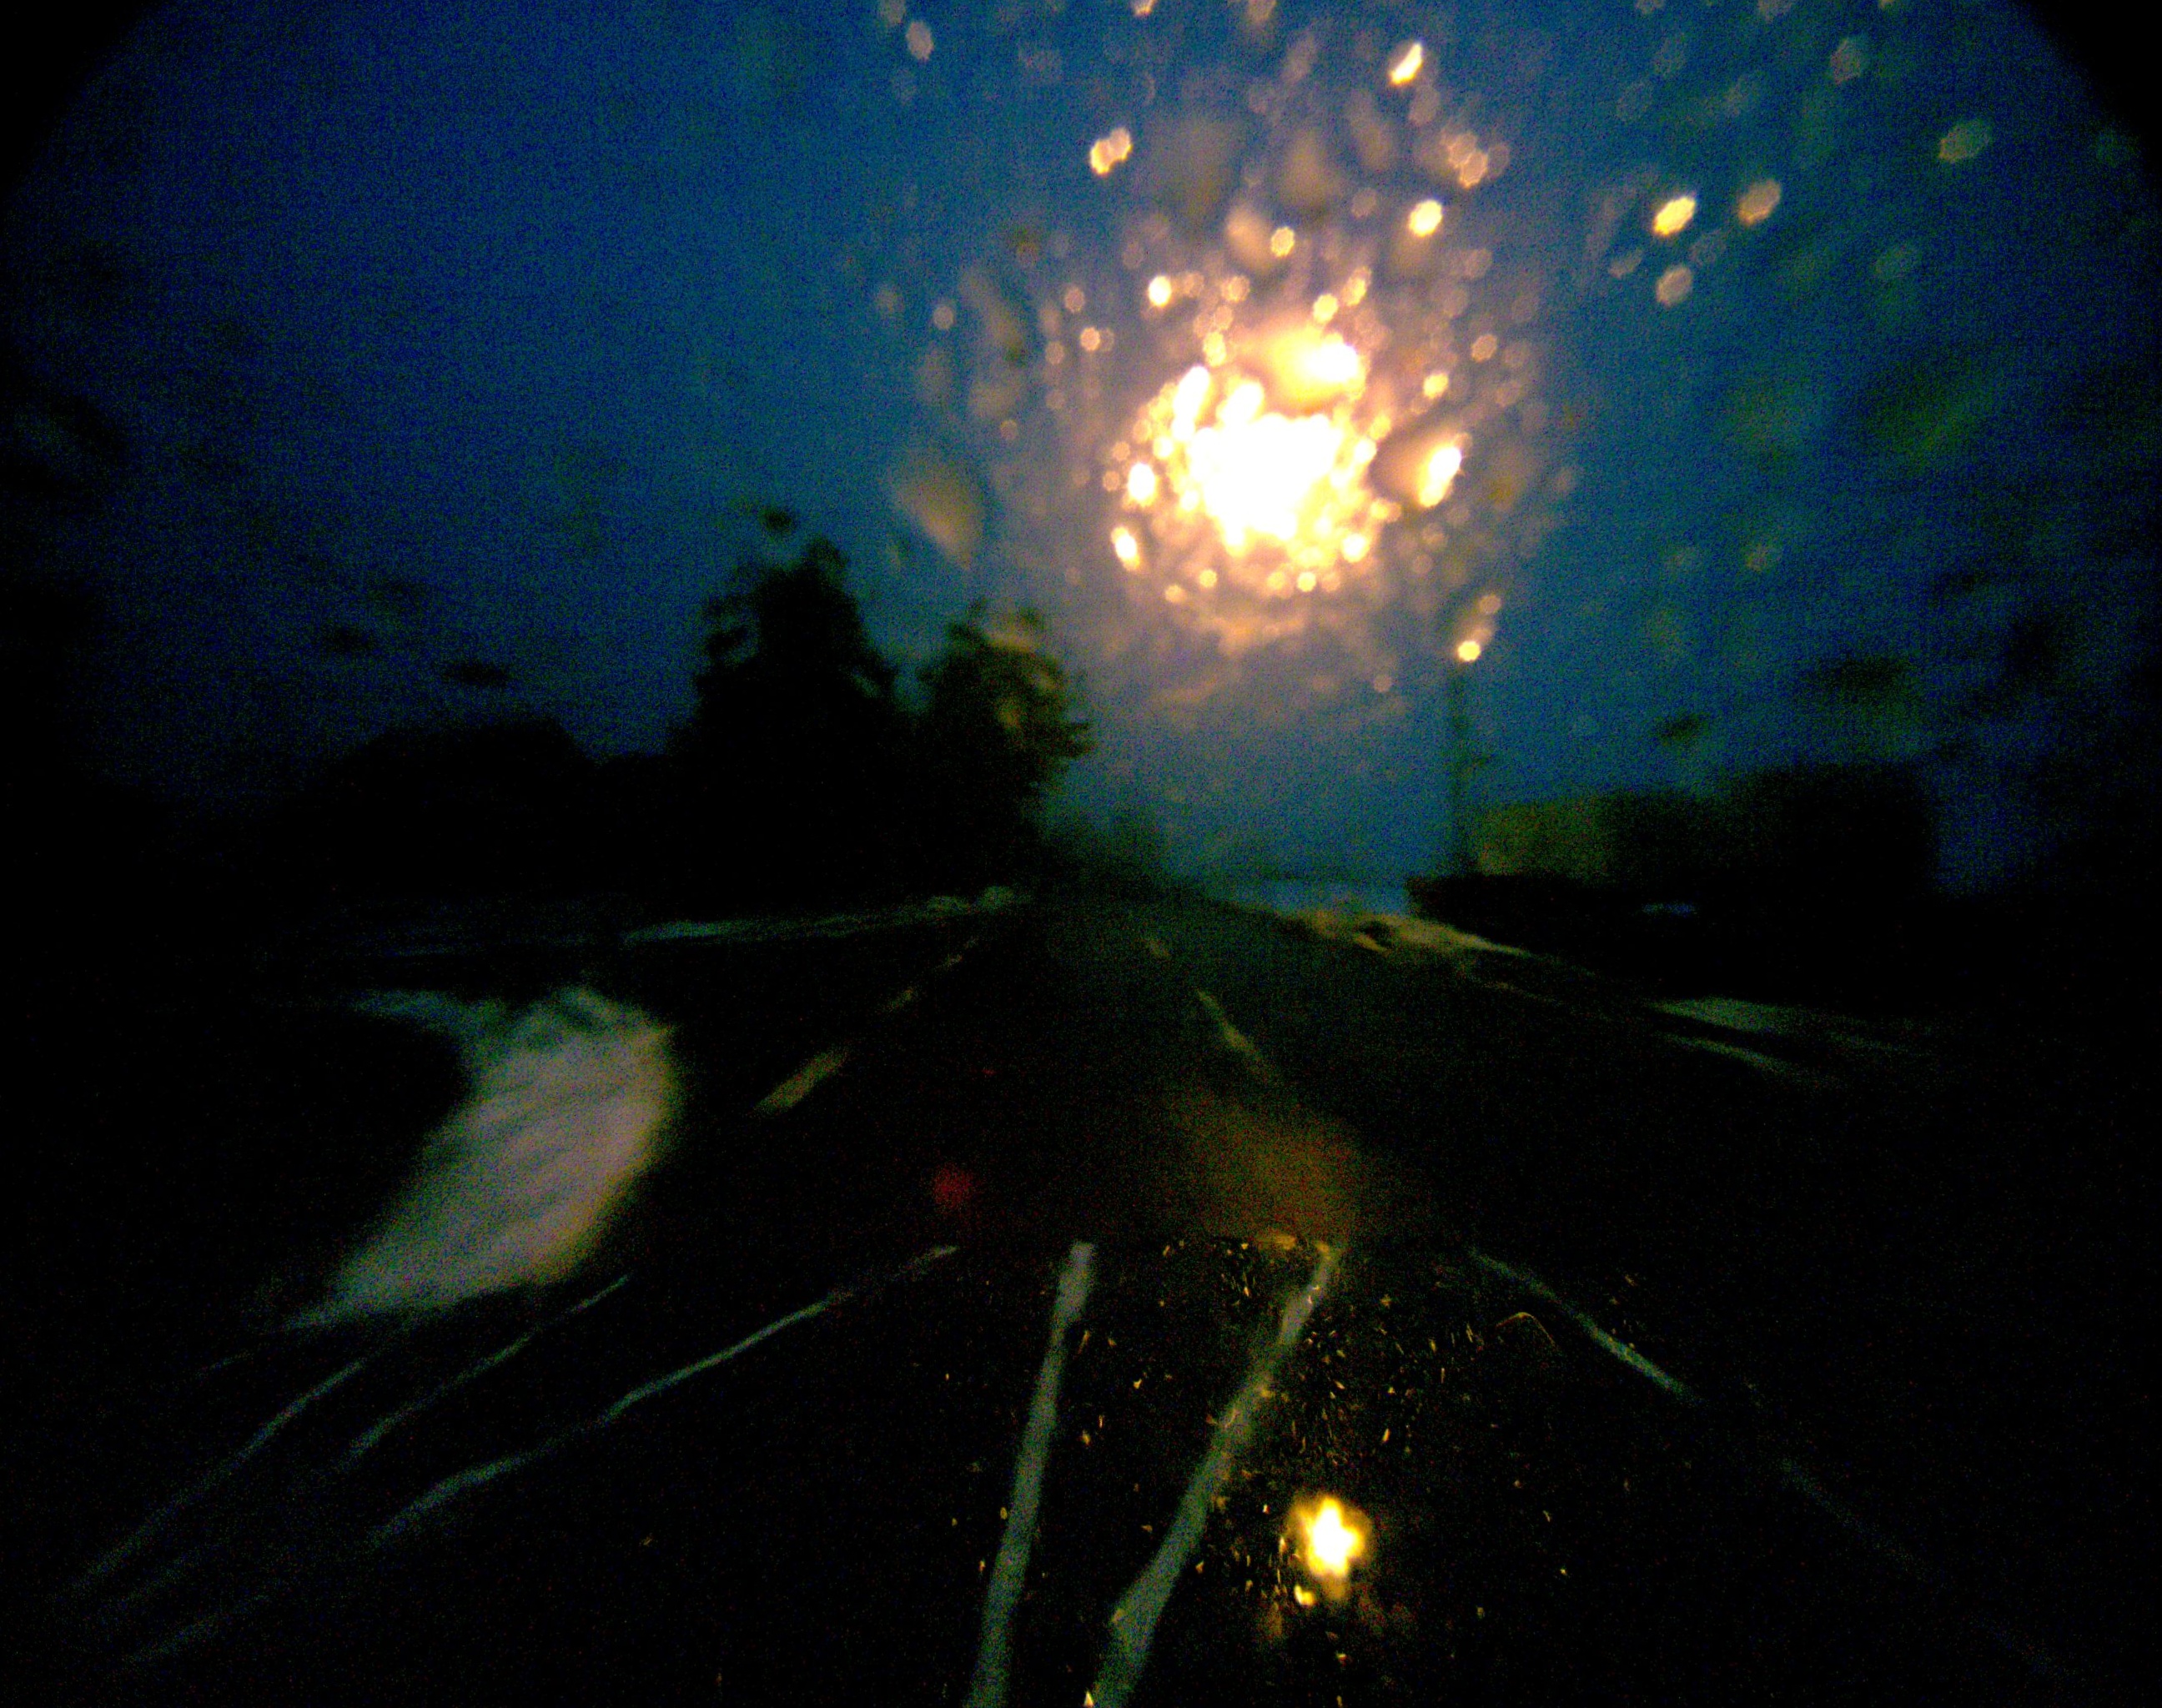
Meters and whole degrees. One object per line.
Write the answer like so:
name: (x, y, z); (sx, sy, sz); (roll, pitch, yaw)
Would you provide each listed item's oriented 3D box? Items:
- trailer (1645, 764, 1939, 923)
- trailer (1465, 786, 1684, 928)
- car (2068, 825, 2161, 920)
trailer: (12.644, -0.143, 13.956); (1.997, 2.474, 4.013); (1, -1, 9)
trailer: (10.031, 0.082, 15.739); (1.697, 2.589, 3.439); (1, -1, -19)
car: (20.271, 0.339, 12.982); (1.997, 1.706, 4.004); (1, -1, 11)
